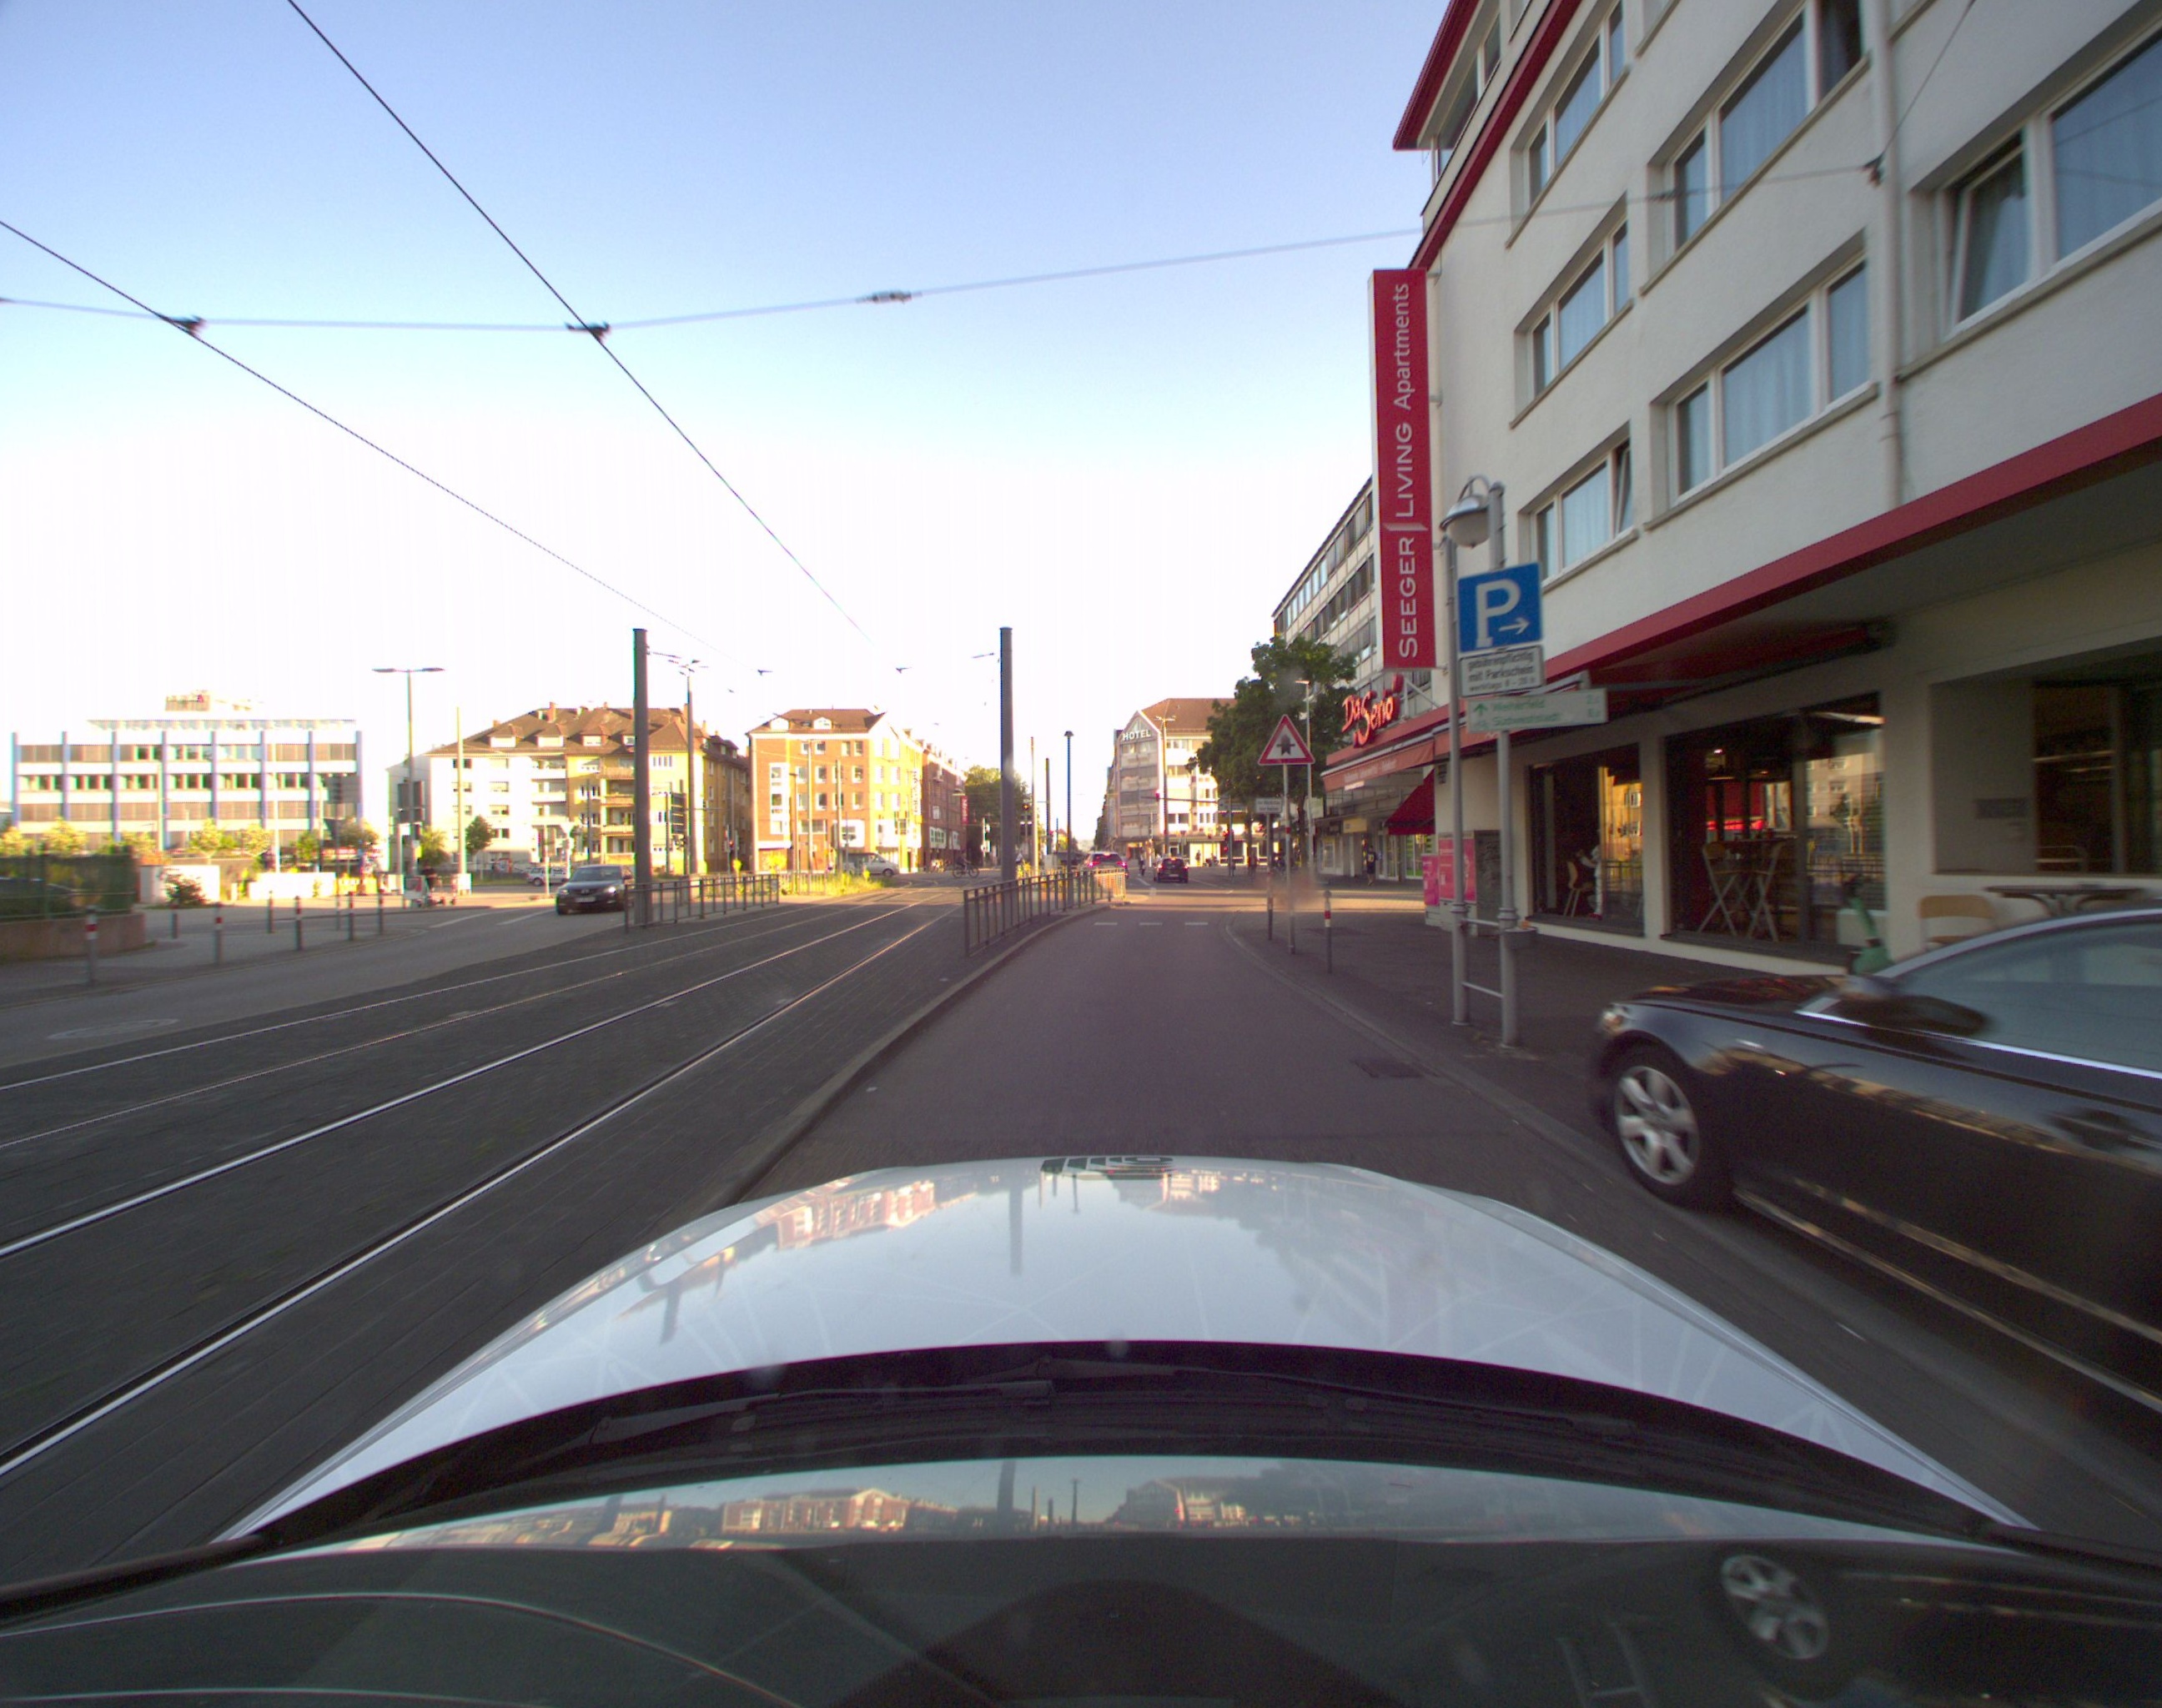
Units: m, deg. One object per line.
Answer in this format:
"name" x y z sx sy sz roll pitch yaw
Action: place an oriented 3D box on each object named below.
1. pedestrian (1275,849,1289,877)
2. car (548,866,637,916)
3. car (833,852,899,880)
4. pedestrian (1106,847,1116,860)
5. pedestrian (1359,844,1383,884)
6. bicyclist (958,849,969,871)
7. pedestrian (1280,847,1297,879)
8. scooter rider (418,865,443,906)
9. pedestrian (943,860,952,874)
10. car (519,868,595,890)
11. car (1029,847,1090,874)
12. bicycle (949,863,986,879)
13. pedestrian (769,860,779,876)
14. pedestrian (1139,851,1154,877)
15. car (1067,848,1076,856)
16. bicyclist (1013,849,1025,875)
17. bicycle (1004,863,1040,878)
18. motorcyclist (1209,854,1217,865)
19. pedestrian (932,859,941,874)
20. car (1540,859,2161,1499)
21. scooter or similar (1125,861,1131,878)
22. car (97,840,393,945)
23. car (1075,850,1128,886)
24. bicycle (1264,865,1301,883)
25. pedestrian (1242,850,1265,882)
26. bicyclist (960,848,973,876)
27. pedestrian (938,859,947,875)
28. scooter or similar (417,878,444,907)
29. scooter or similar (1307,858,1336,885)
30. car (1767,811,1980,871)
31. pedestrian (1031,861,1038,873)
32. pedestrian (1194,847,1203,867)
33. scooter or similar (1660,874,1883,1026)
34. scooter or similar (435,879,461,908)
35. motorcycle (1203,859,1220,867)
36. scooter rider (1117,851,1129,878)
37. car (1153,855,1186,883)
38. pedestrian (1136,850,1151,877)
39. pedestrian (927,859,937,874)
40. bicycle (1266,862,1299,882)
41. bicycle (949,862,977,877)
"pedestrian" 12.876 0.567 52.270 0.743 1.778 0.801 1 -1 3
"car" -14.910 1.071 25.058 1.774 1.376 4.190 -1 -1 -23
"car" -16.208 0.891 61.510 4.691 2.013 1.990 -1 0 -15
"pedestrian" 3.801 -0.056 102.647 0.939 1.726 0.842 1 -1 -41
"pedestrian" 12.570 0.442 35.349 0.743 1.684 0.894 1 -1 2
"bicyclist" -8.450 0.436 58.789 0.704 1.511 0.548 -3 0 -10
"pedestrian" 11.698 0.495 45.900 0.743 1.778 0.973 1 -1 2
"scooter rider" -26.051 1.258 32.618 0.587 1.593 0.653 1 -1 -20
"pedestrian" -18.661 1.804 113.639 1.090 2.014 1.162 1 -1 -2
"car" -39.337 1.878 61.198 4.334 1.551 1.995 0 -1 -7
"car" -1.746 0.479 65.215 4.563 2.037 1.992 -1 0 -12
"bicycle" -8.284 1.242 59.693 2.648 1.100 0.433 1 -1 -19
"pedestrian" -32.883 1.534 87.228 0.683 1.743 0.670 -1 -2 13
"pedestrian" 4.517 0.692 56.268 0.990 1.830 0.729 1 -1 3
"car" -2.165 -0.518 193.073 1.986 1.901 4.001 1 -1 2
"bicyclist" -4.622 0.579 60.406 0.859 1.878 0.645 1 -1 -6
"bicycle" -4.379 1.210 60.447 2.636 1.100 0.434 1 -1 -6
"motorcyclist" 14.935 0.581 92.451 0.703 1.220 0.787 1 -1 -6
"pedestrian" -19.641 1.745 110.561 1.090 2.014 0.908 1 -1 -2
"car" 3.285 0.728 1.937 1.784 1.413 4.687 1 -1 0
"scooter or similar" 2.950 0.972 51.282 0.278 1.091 1.259 1 -1 7
"car" -17.944 0.765 17.741 3.995 2.013 1.989 -1 0 -16
"car" 0.925 0.644 38.819 1.834 1.636 4.078 0 0 -9
"bicycle" 10.200 0.997 41.272 1.808 0.891 0.416 1 -1 7
"pedestrian" 9.395 0.648 44.317 0.825 1.685 1.043 1 -1 -16
"bicyclist" -8.394 0.585 59.649 0.863 2.014 0.642 1 -1 -19
"pedestrian" -18.618 1.745 109.460 0.974 2.014 0.908 1 -1 -2
"scooter or similar" -25.877 1.523 32.397 0.427 1.063 1.611 1 -1 -24
"scooter or similar" 10.822 0.792 36.670 0.296 1.218 1.206 2 -3 -44
"car" 24.650 -0.387 25.565 4.385 1.751 1.931 -1 2 23
"pedestrian" -6.023 1.696 106.112 0.800 1.664 0.705 1 -1 9
"pedestrian" 10.950 0.287 75.841 0.743 1.778 0.801 1 -1 3
"scooter or similar" 5.926 0.777 7.052 1.420 1.194 0.337 -2 0 44
"scooter or similar" -25.346 1.573 32.647 0.427 1.082 1.611 1 -1 -24
"motorcycle" 14.793 1.025 92.444 1.830 0.908 0.431 1 -1 -4
"scooter rider" 2.620 0.645 51.174 0.658 1.647 0.663 1 -1 9
"car" 5.027 0.810 46.308 1.755 1.440 4.006 -1 0 5
"pedestrian" 4.362 0.665 57.076 0.990 1.830 0.729 1 -1 3
"pedestrian" -19.885 1.715 108.683 1.090 2.014 0.908 1 -1 -2
"bicycle" 10.453 0.930 42.224 1.648 0.974 0.387 1 -1 7
"bicycle" -8.516 1.118 58.782 2.033 1.028 0.416 0 -1 -5
